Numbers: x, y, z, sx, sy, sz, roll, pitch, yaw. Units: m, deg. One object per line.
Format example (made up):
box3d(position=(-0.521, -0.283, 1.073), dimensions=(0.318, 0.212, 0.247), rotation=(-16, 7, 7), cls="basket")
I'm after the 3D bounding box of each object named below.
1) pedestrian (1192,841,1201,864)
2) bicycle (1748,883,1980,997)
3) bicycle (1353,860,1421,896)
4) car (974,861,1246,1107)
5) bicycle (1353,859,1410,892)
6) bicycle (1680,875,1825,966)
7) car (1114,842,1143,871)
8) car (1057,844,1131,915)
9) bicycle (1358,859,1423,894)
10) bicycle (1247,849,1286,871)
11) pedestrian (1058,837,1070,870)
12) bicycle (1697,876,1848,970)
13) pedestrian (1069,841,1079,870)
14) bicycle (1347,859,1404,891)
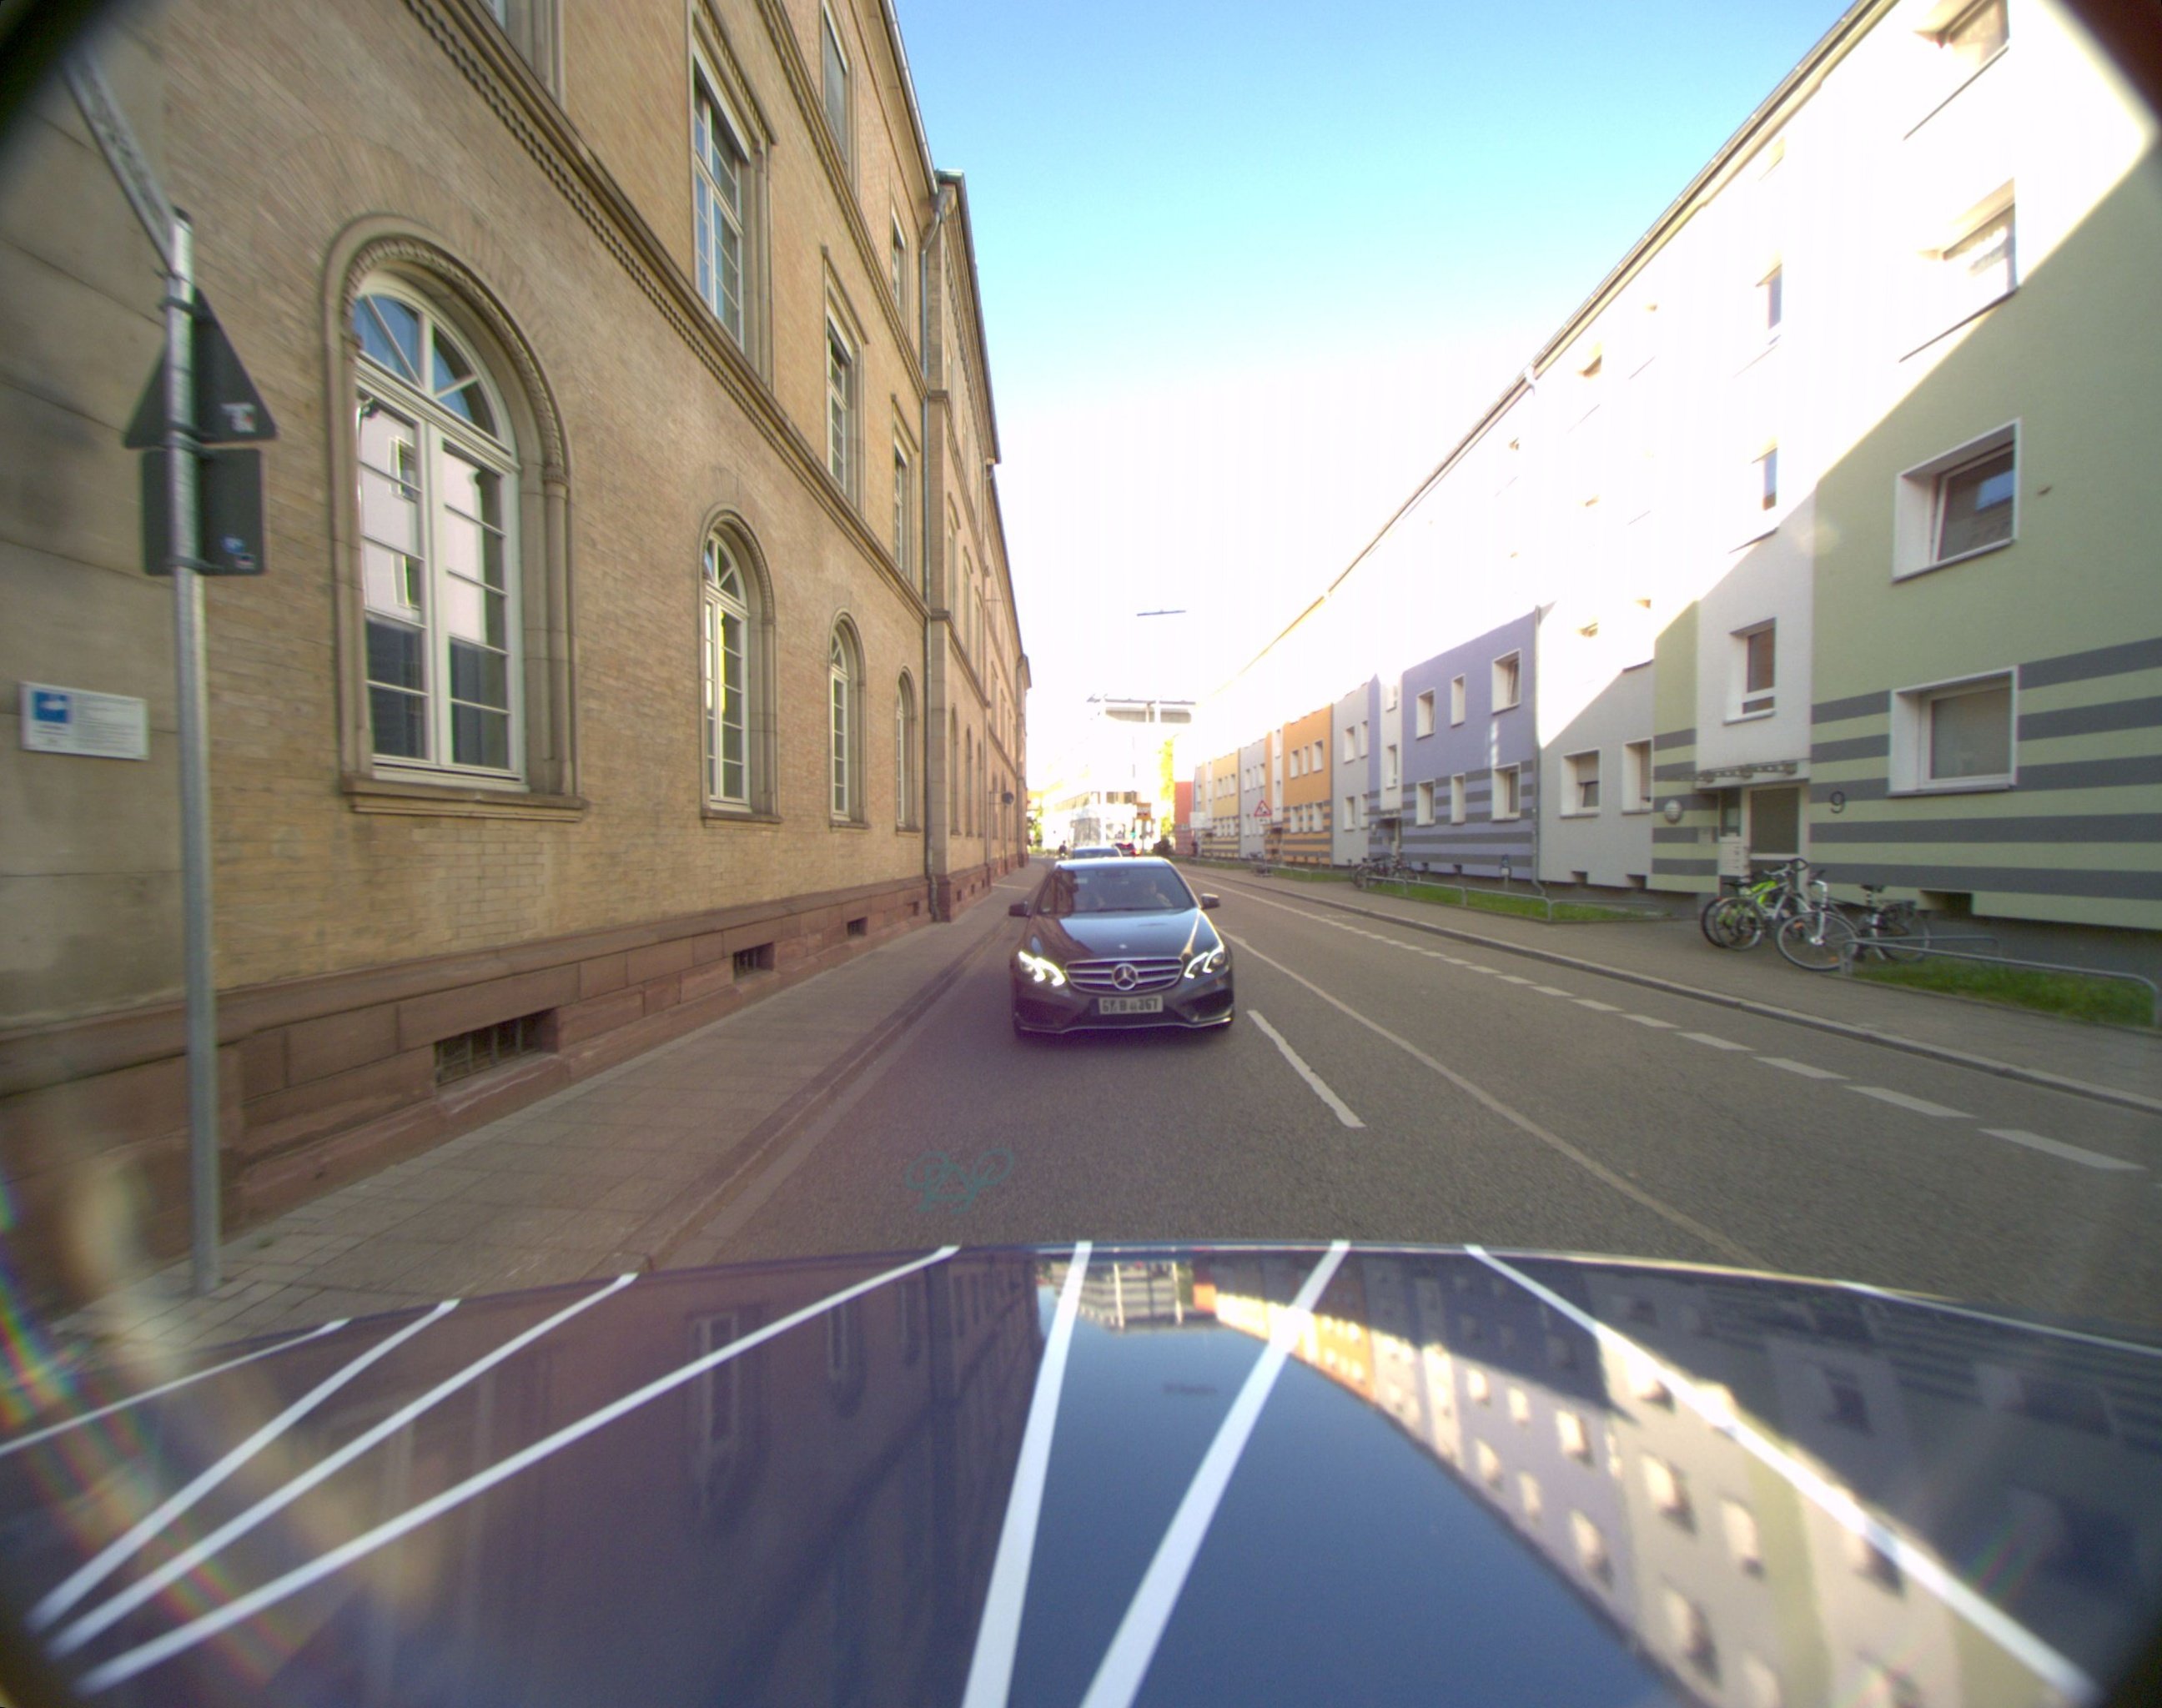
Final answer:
box3d(position=(8.431, -0.110, 55.481), dimensions=(0.612, 1.641, 0.447), rotation=(0, 1, -5), cls="pedestrian")
box3d(position=(8.904, 0.955, 8.694), dimensions=(1.820, 1.094, 0.749), rotation=(-4, 1, 1), cls="bicycle")
box3d(position=(9.091, 0.719, 22.601), dimensions=(1.802, 0.941, 0.388), rotation=(-4, 1, 1), cls="bicycle")
box3d(position=(0.346, 0.923, 7.526), dimensions=(1.785, 1.471, 4.670), rotation=(-3, 1, 4), cls="car")
box3d(position=(9.696, 0.682, 24.536), dimensions=(1.657, 0.941, 0.388), rotation=(-4, 1, 1), cls="bicycle")
box3d(position=(9.293, 0.903, 10.526), dimensions=(1.738, 1.094, 0.388), rotation=(-4, 1, -6), cls="bicycle")
box3d(position=(3.157, 0.137, 50.979), dimensions=(1.682, 1.777, 4.242), rotation=(-3, 1, 1), cls="car")
box3d(position=(0.360, 0.577, 20.161), dimensions=(1.682, 1.568, 4.242), rotation=(-3, 1, 1), cls="car")
box3d(position=(9.474, 0.689, 23.285), dimensions=(1.802, 0.941, 0.388), rotation=(-4, 1, 1), cls="bicycle")
box3d(position=(9.605, 0.309, 39.362), dimensions=(1.807, 0.977, 0.654), rotation=(-5, 1, -2), cls="bicycle")
box3d(position=(-0.994, -0.015, 45.146), dimensions=(0.677, 1.928, 0.858), rotation=(0, 1, 1), cls="pedestrian")
box3d(position=(9.203, 0.904, 10.123), dimensions=(1.738, 1.094, 0.388), rotation=(-4, 1, -6), cls="bicycle")
box3d(position=(-0.427, 0.089, 47.661), dimensions=(0.603, 1.770, 0.652), rotation=(0, 1, 1), cls="pedestrian")
box3d(position=(9.663, 0.683, 24.943), dimensions=(1.657, 0.941, 0.388), rotation=(-4, 1, 1), cls="bicycle")
